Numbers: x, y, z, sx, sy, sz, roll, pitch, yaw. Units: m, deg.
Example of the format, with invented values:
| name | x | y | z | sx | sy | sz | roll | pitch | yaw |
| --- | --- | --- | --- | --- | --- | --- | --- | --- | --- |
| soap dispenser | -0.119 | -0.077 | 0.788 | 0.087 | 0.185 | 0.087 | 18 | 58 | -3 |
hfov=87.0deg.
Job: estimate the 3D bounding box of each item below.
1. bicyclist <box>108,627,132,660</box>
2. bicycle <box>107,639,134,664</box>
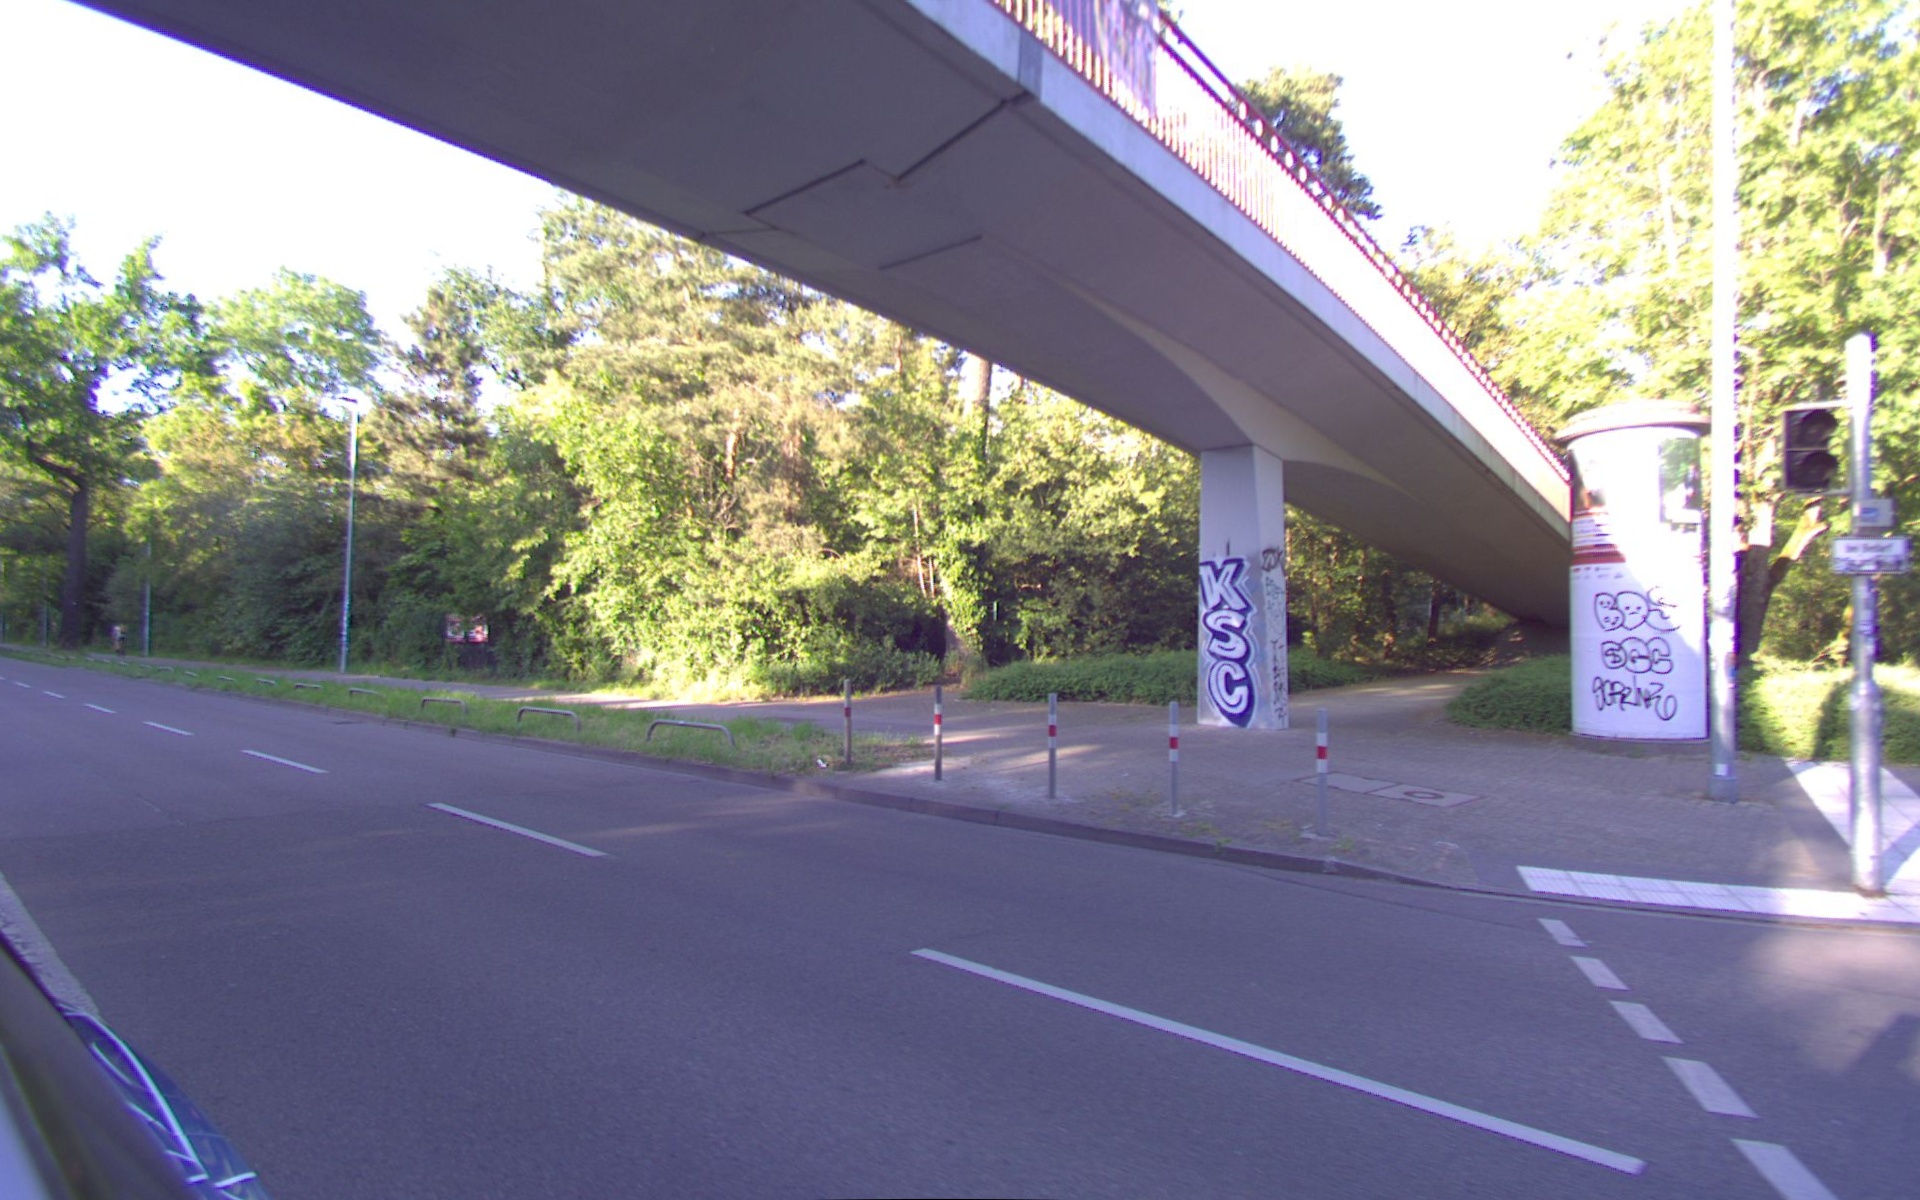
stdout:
| name | x | y | z | sx | sy | sz | roll | pitch | yaw |
| --- | --- | --- | --- | --- | --- | --- | --- | --- | --- |
| bicyclist | -41.235 | 2.146 | 49.671 | 1.142 | 1.570 | 0.705 | -1 | 0 | 41 |
| bicycle | -41.224 | 2.507 | 49.675 | 1.992 | 1.156 | 0.705 | -1 | 0 | 41 |
